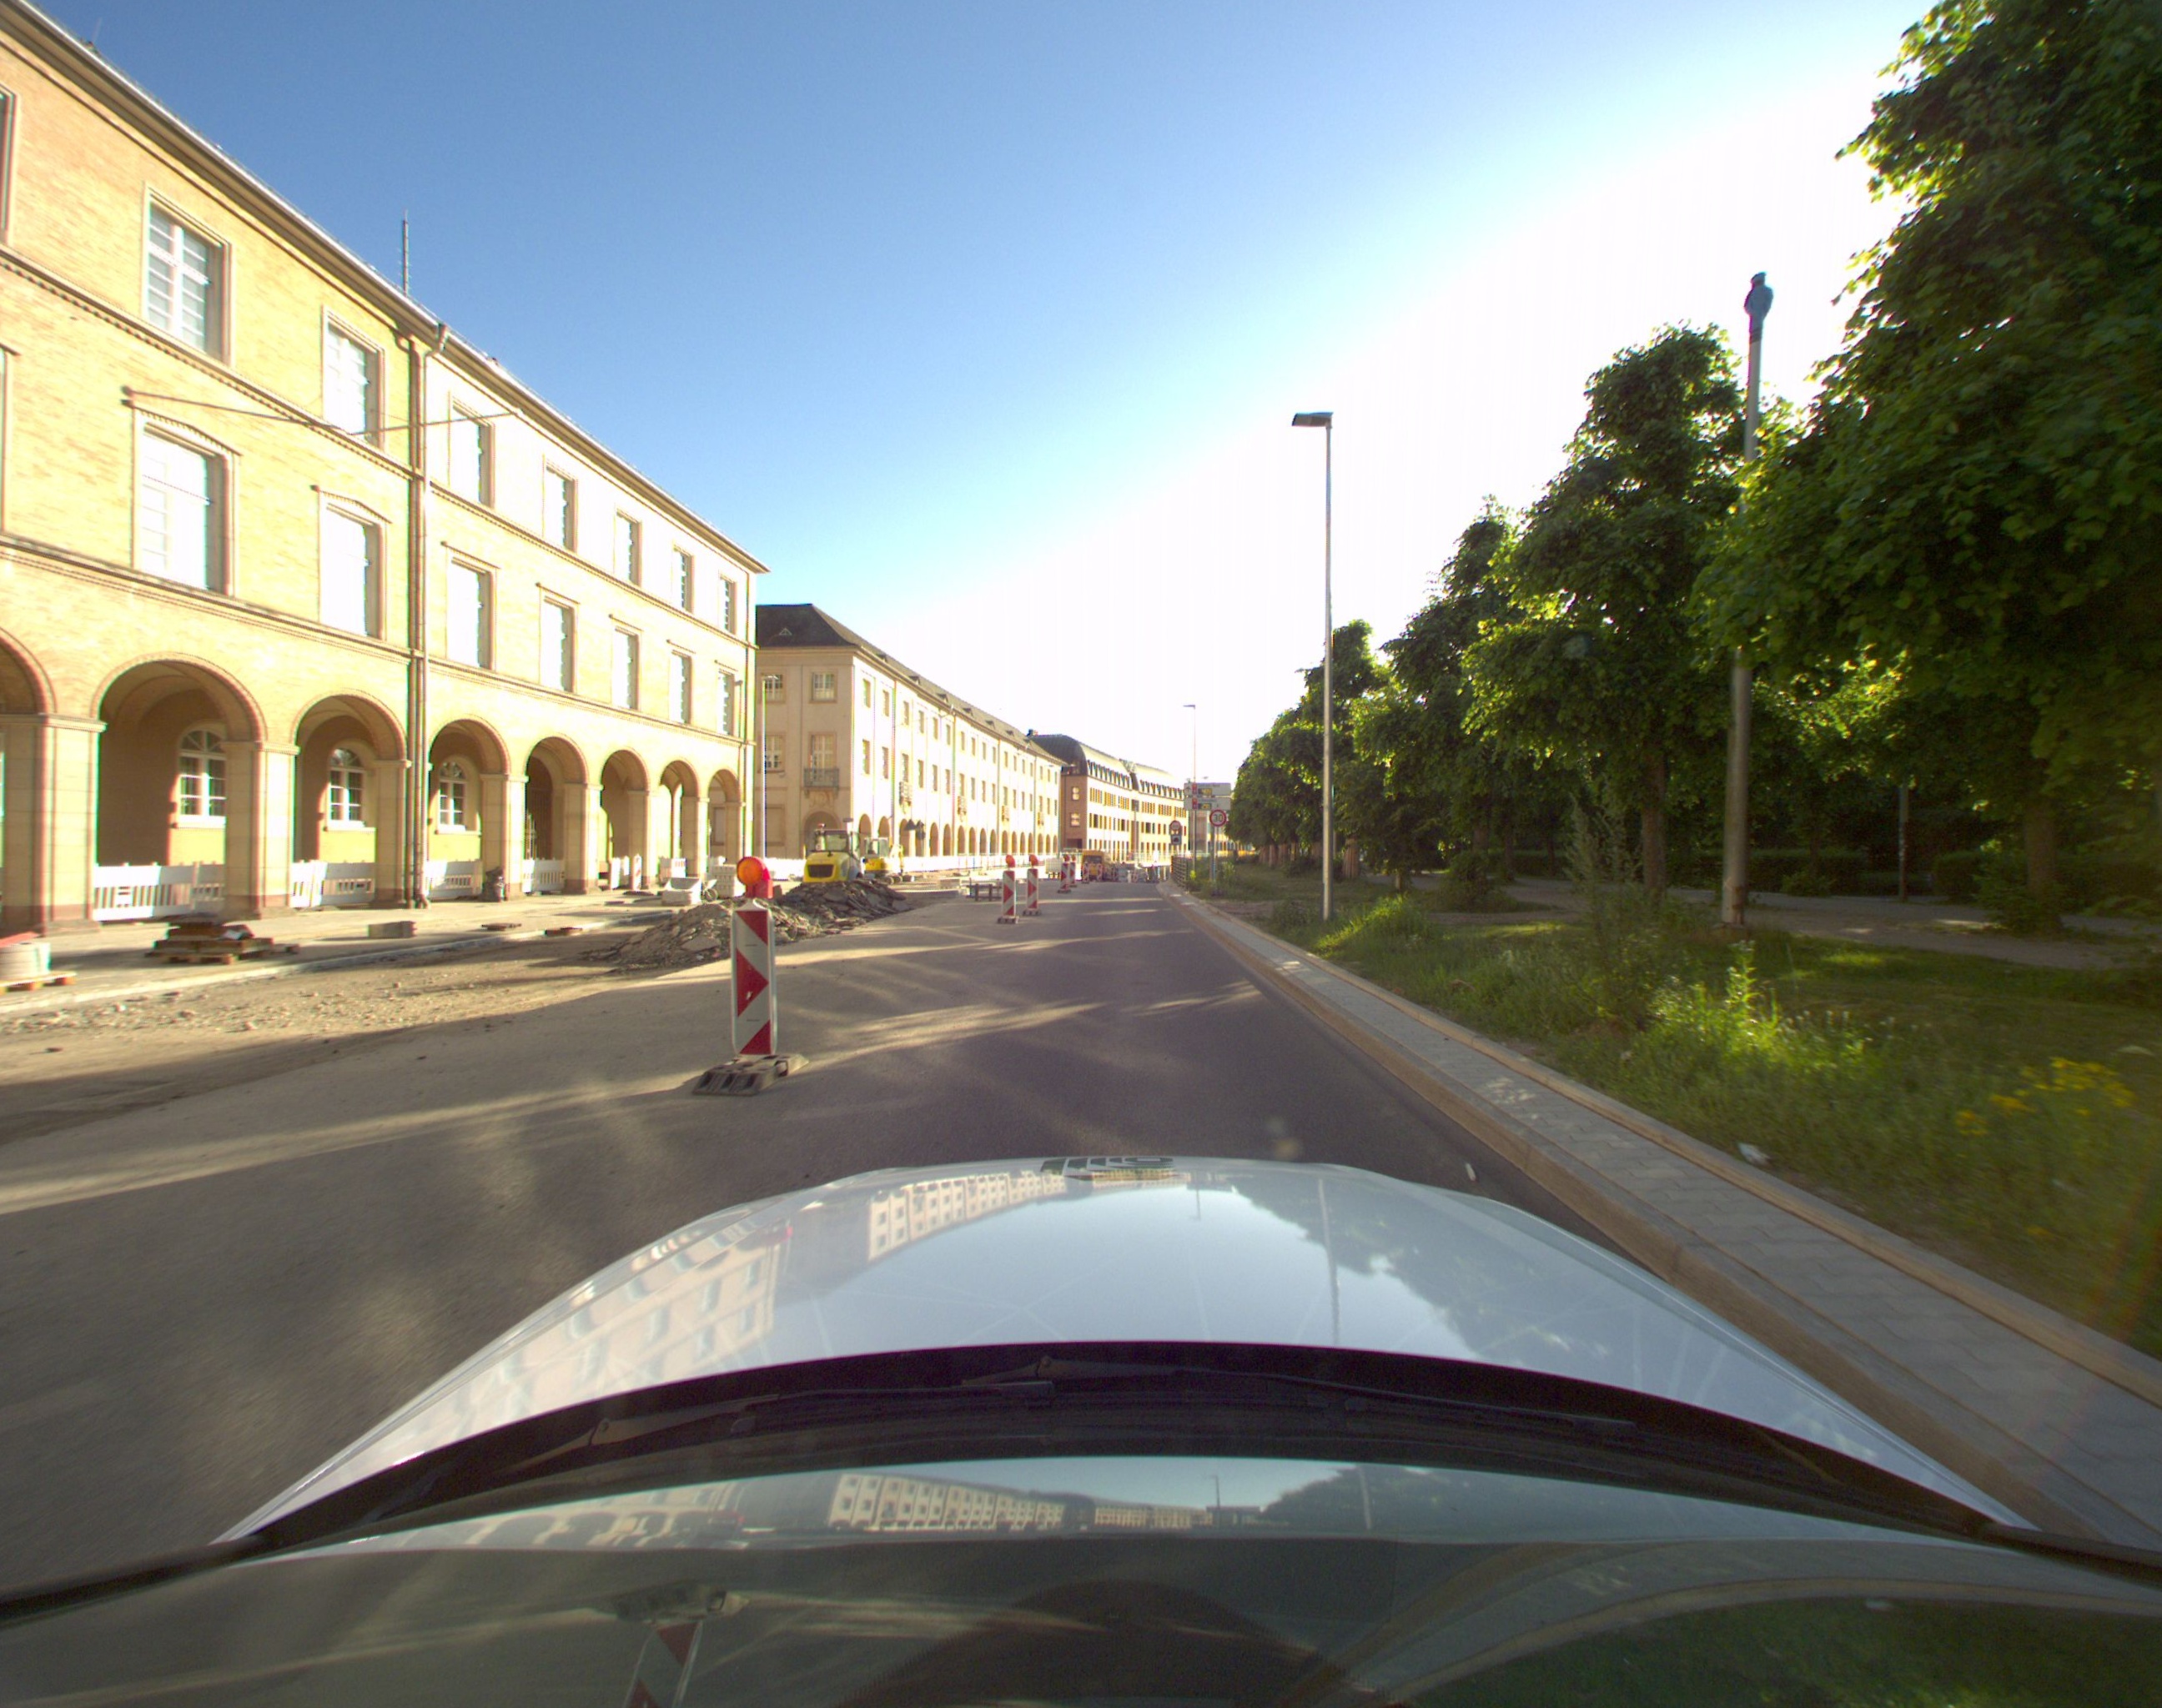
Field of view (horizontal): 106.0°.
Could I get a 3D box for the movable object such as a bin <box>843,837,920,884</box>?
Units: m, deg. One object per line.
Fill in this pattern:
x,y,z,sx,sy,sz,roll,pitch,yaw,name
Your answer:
-10.519,0.324,43.327,2.532,2.348,4.469,0,0,7,movable object such as a bin

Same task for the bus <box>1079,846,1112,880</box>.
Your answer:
1.247,0.812,67.354,2.060,2.687,4.694,0,-2,9,bus

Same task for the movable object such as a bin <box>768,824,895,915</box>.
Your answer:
-7.381,0.370,24.689,2.064,2.475,4.624,0,1,5,movable object such as a bin
